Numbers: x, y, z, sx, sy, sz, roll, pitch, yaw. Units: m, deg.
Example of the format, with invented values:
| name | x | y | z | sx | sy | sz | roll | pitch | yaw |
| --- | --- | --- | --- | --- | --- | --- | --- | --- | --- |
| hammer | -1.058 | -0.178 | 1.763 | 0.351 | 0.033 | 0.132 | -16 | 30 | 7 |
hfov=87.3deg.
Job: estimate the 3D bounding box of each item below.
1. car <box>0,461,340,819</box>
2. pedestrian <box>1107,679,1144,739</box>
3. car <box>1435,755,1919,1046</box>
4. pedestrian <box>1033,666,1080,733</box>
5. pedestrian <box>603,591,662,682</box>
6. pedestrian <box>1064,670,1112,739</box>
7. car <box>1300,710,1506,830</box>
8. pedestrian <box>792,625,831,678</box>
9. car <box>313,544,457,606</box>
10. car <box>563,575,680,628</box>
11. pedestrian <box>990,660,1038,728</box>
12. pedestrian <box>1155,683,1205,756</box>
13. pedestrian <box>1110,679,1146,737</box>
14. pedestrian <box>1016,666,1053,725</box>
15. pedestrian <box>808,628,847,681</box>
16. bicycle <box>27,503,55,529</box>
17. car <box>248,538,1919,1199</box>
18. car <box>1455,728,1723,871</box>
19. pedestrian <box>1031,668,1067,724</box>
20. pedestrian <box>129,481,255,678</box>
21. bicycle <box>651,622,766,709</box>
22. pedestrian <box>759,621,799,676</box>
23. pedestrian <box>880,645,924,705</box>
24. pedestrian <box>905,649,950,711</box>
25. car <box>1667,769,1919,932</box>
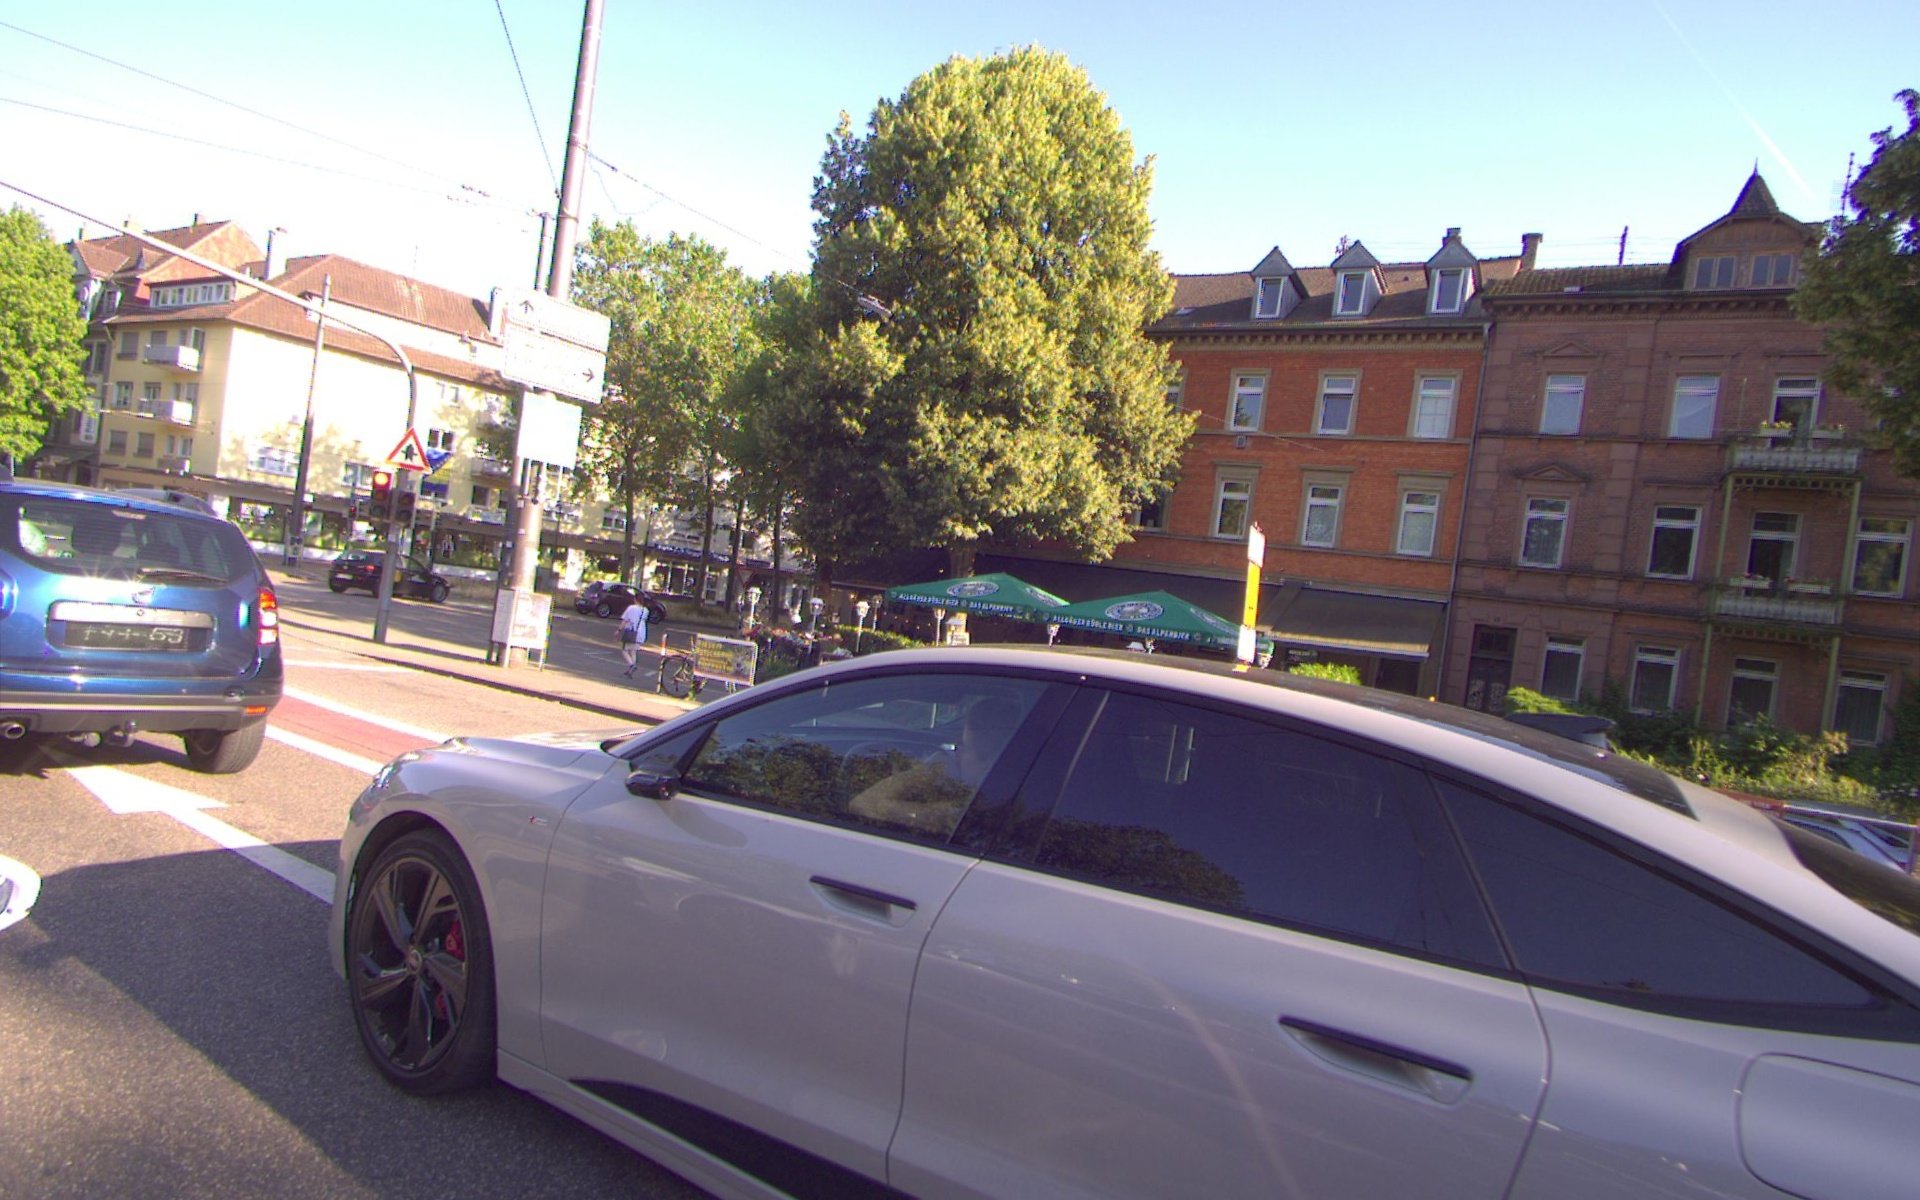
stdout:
| name | x | y | z | sx | sy | sz | roll | pitch | yaw |
| --- | --- | --- | --- | --- | --- | --- | --- | --- | --- |
| car | -5.855 | 0.040 | 6.122 | 3.978 | 1.657 | 1.803 | 7 | -1 | 31 |
| pedestrian | 3.806 | 2.490 | 23.111 | 0.604 | 1.275 | 0.633 | 8 | -2 | 14 |
| car | 7.632 | 3.006 | 10.835 | 4.285 | 1.920 | 1.799 | 6 | -2 | 30 |
| pedestrian | 2.121 | 2.180 | 21.978 | 0.621 | 1.352 | 0.650 | 7 | -3 | 32 |
| pedestrian | -6.102 | 0.679 | 18.732 | 0.646 | 1.580 | 0.625 | 10 | -3 | -39 |
| pedestrian | 2.735 | 2.234 | 21.422 | 0.621 | 1.352 | 0.650 | 7 | -3 | 32 |
| car | 8.197 | 3.112 | 19.072 | 1.748 | 1.365 | 3.996 | 7 | 0 | -5 |
| pedestrian | -4.189 | 1.460 | 28.367 | 0.621 | 1.352 | 0.650 | 7 | -3 | 32 |
| car | -18.006 | -0.725 | 31.759 | 1.772 | 1.455 | 4.049 | 8 | -1 | 6 |
| car | -13.586 | 0.078 | 40.508 | 1.775 | 1.528 | 3.983 | 8 | -1 | 42 |
| pedestrian | 1.196 | 2.071 | 22.206 | 0.643 | 1.352 | 0.628 | 10 | -3 | -28 |
| pedestrian | 4.411 | 2.395 | 20.154 | 0.621 | 1.352 | 0.650 | 7 | -3 | 32 |
| pedestrian | 3.977 | 2.543 | 23.784 | 0.604 | 1.275 | 0.633 | 8 | -2 | 14 |
| pedestrian | 1.769 | 2.255 | 23.749 | 0.604 | 1.275 | 0.633 | 8 | -2 | 14 |
| pedestrian | -3.628 | 1.496 | 27.564 | 0.621 | 1.352 | 0.650 | 7 | -3 | 32 |
| bicycle | -45.503 | -4.184 | 49.823 | 1.772 | 1.121 | 0.609 | 7 | 0 | 37 |
| car | 0.315 | 0.872 | 2.780 | 4.774 | 1.490 | 1.932 | 7 | -1 | 32 |
| car | 10.900 | 3.406 | 17.825 | 1.769 | 1.498 | 3.994 | 7 | 0 | -7 |
| pedestrian | 2.183 | 2.348 | 24.632 | 0.604 | 1.275 | 0.633 | 8 | -2 | 14 |
| pedestrian | -7.844 | -0.198 | 10.285 | 0.666 | 1.893 | 0.658 | 7 | 0 | 32 |
| bicycle | -3.821 | 0.985 | 15.227 | 1.770 | 1.087 | 0.499 | 6 | -2 | 32 |
| pedestrian | -4.909 | 1.317 | 27.282 | 0.621 | 1.352 | 0.650 | 7 | -3 | 32 |
| pedestrian | -1.407 | 1.825 | 24.455 | 0.621 | 1.352 | 0.650 | 7 | -3 | 32 |
| pedestrian | -0.749 | 1.878 | 23.579 | 0.621 | 1.352 | 0.650 | 7 | -3 | 32 |
| car | 13.553 | 3.811 | 15.573 | 1.929 | 1.424 | 4.247 | 8 | 0 | -3 |
